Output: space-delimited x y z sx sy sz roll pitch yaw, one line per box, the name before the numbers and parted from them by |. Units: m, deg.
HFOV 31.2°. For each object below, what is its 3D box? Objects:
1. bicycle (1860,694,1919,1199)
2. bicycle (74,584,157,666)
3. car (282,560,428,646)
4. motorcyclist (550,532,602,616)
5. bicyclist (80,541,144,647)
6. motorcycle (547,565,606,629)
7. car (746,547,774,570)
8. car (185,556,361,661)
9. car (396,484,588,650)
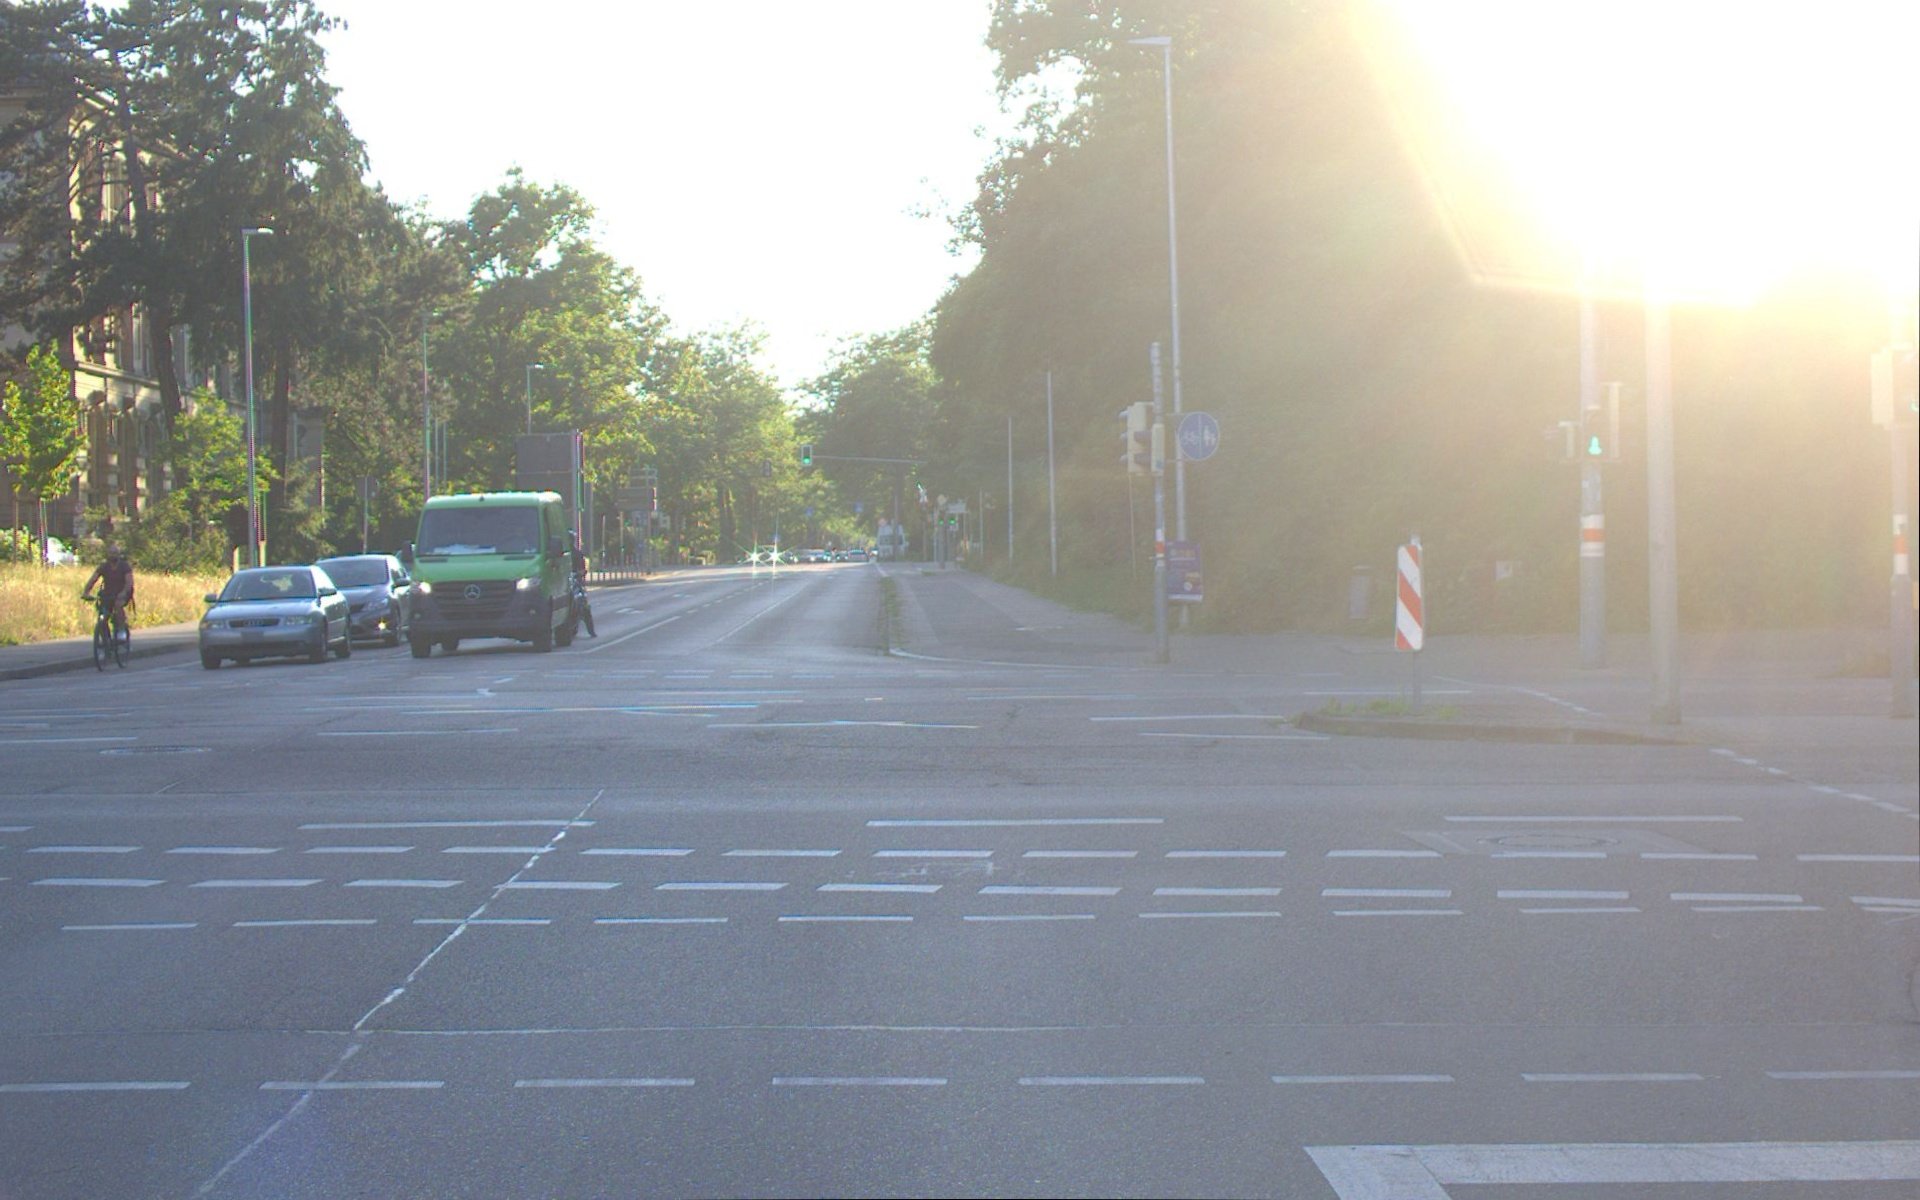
bicycle | 2.483 0.809 7.327 0.613 1.134 1.884 0 1 -1
bicycle | -12.273 0.350 50.010 0.686 1.119 2.169 -1 1 -1
car | -9.857 0.027 56.207 1.764 1.323 3.643 -1 1 -1
motorcyclist | -6.264 -0.426 56.147 0.749 1.353 0.704 -1 0 -1
bicyclist | -12.276 -0.090 49.792 0.683 1.507 0.956 -1 1 -1
motorcycle | -6.260 -0.054 56.163 0.754 0.998 1.879 -1 1 -1
car | -13.652 -2.837 234.404 1.770 1.469 3.777 -1 1 -4
car | -9.864 0.092 49.633 1.730 1.404 4.140 -1 1 -1
car | -6.826 -0.510 50.757 2.038 2.270 5.941 -1 1 -1
